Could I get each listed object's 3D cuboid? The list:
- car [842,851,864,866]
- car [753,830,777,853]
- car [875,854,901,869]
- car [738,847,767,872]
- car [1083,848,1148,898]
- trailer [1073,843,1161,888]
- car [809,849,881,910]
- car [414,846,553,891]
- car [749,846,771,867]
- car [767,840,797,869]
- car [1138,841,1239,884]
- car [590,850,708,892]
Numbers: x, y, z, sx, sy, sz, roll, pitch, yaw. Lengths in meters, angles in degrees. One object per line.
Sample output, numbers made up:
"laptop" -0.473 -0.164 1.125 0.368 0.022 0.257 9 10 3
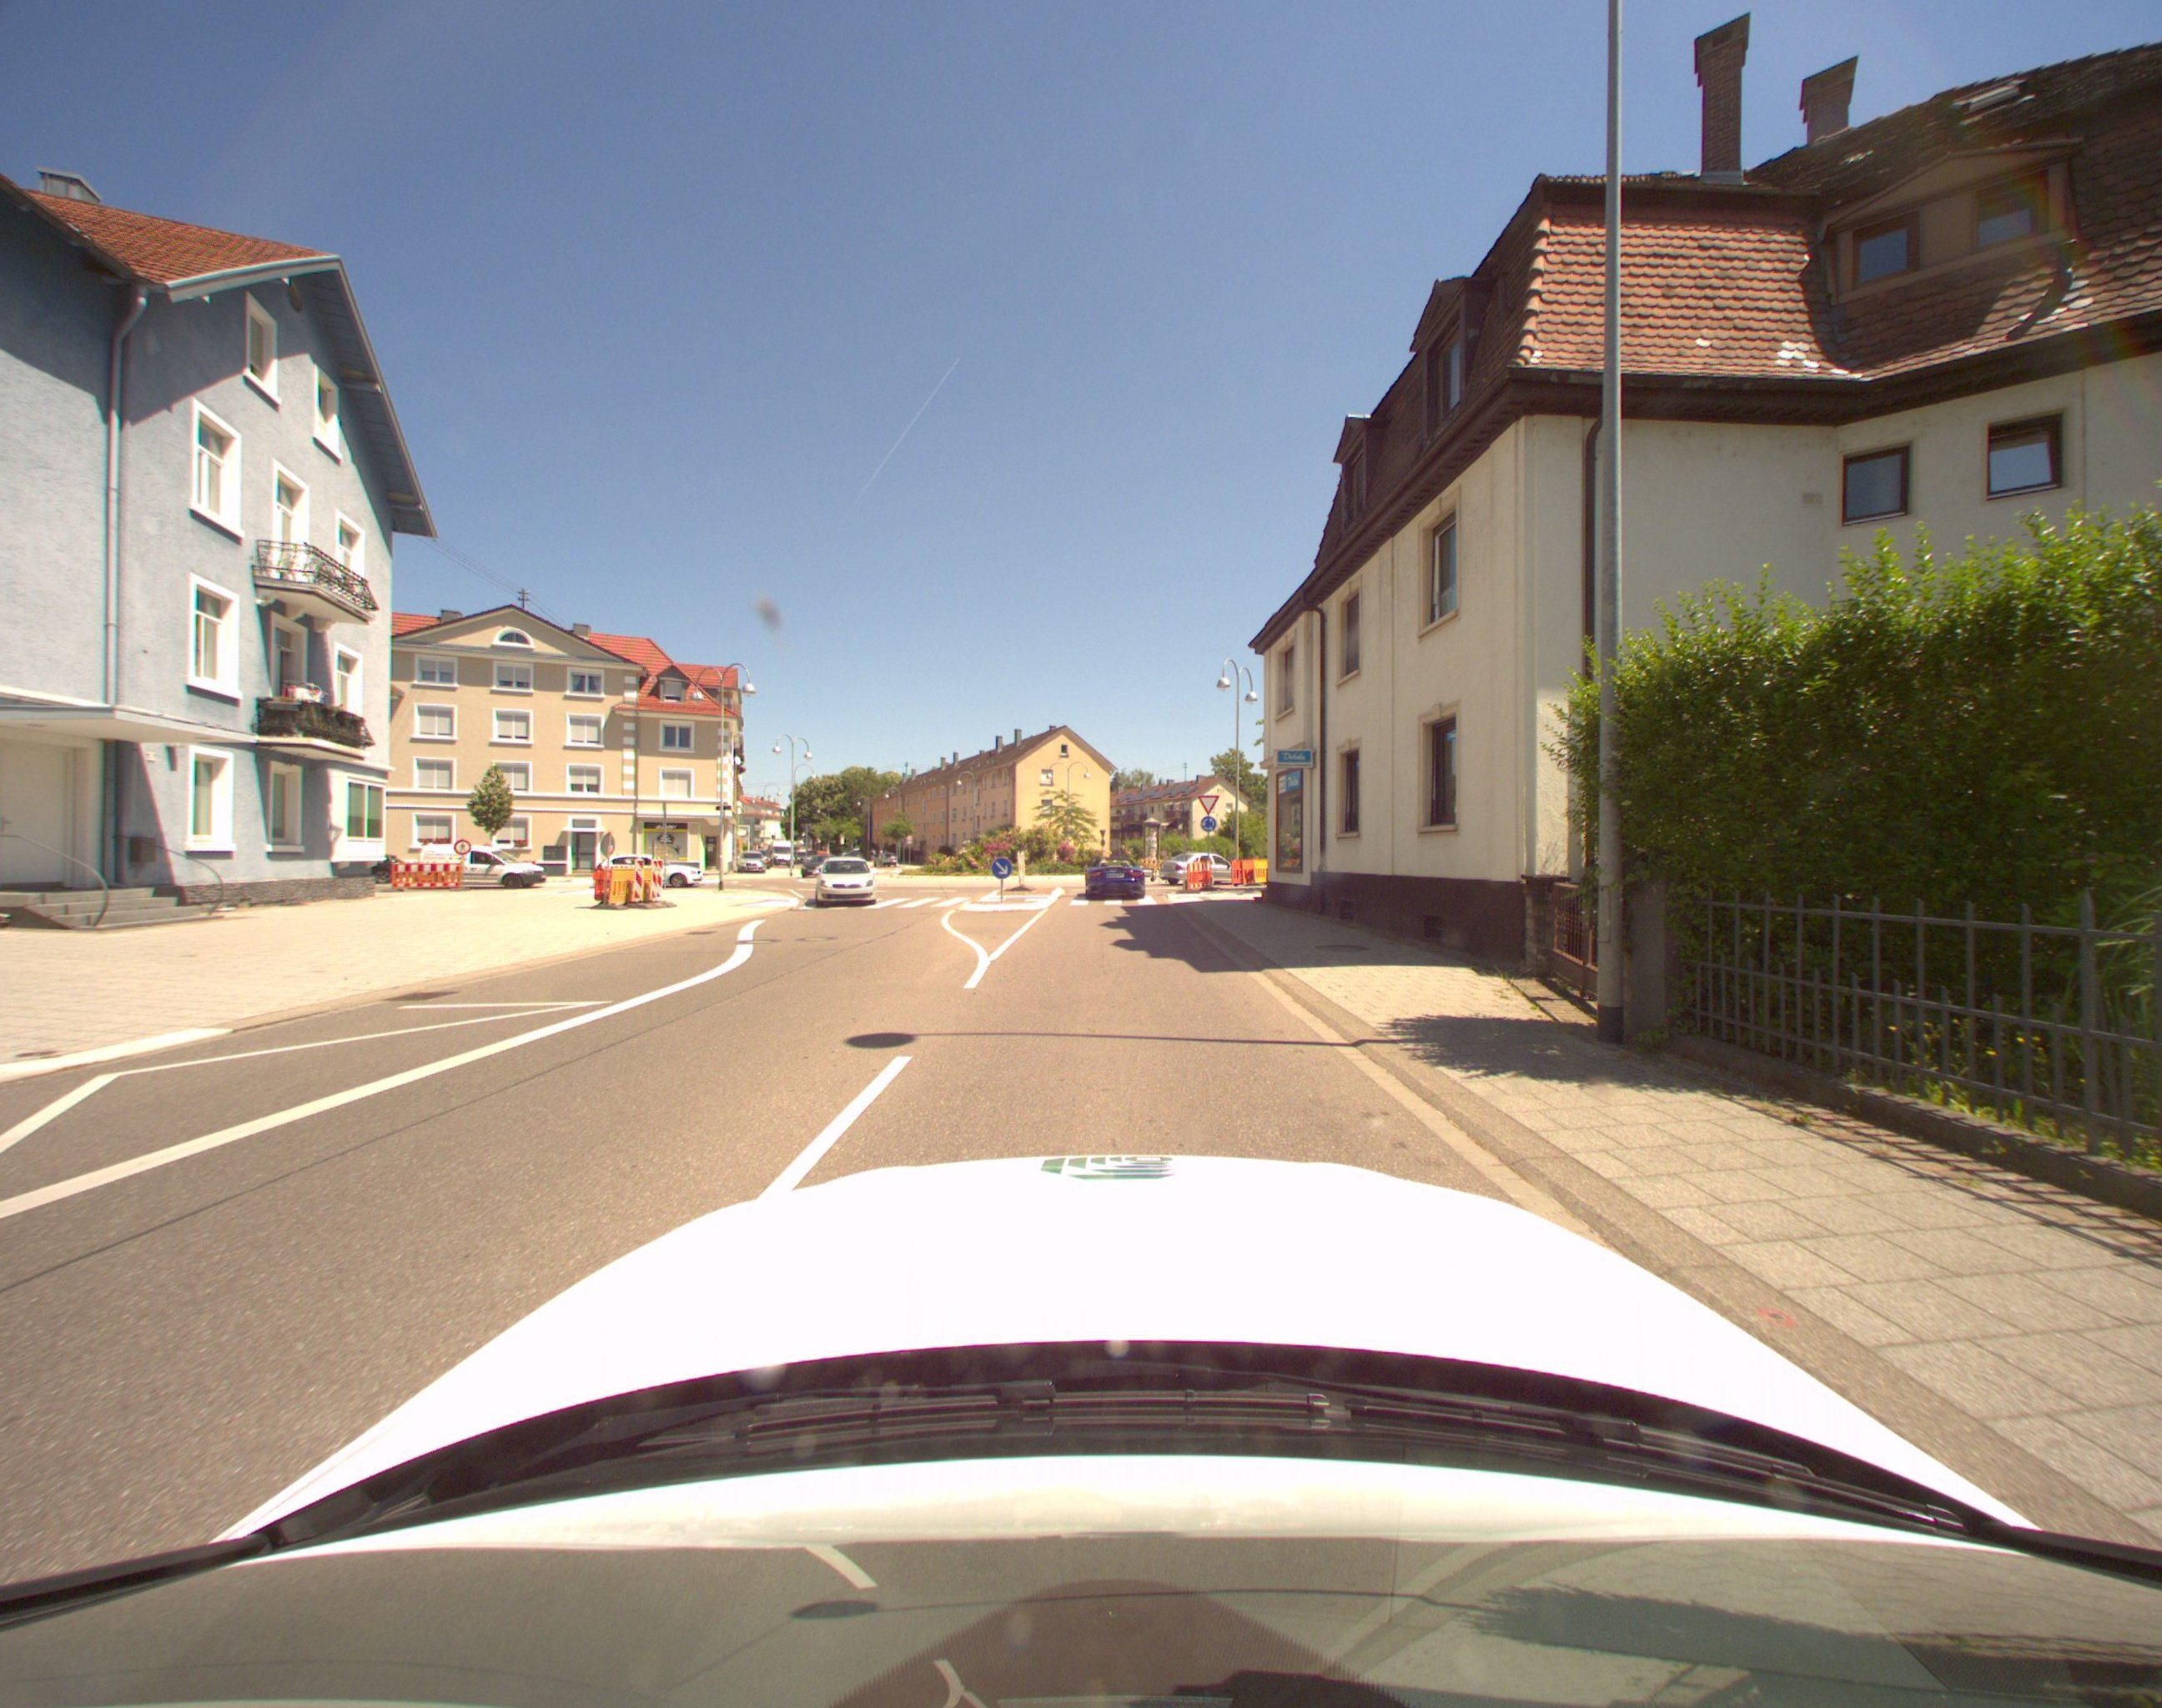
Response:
"car" -28.357 0.506 101.328 1.823 1.794 3.964 2 -1 -28
"car" -36.098 -1.403 92.920 2.155 2.533 4.815 2 -1 -25
"car" -20.618 0.827 86.930 1.823 1.500 3.964 2 -1 -28
"car" -22.720 0.368 56.258 1.783 1.686 4.659 0 0 -23
"car" 1.065 0.635 27.020 1.865 1.530 4.503 0 -1 -1
"trailer" 1.494 0.444 34.015 3.206 1.717 1.740 -2 1 -29
"car" -7.489 0.728 25.743 1.843 1.529 4.366 -7 2 -18
"car" -24.639 0.569 33.757 4.240 1.777 1.771 0 0 -18
"car" -26.729 0.214 67.837 1.605 1.617 4.061 2 -1 -22
"car" -28.645 0.058 77.808 2.155 2.533 6.186 2 -1 -25
"car" 4.742 0.354 35.825 4.140 1.747 1.771 -1 1 -29
"car" -18.676 0.728 35.402 4.118 1.551 1.780 -3 0 -12
